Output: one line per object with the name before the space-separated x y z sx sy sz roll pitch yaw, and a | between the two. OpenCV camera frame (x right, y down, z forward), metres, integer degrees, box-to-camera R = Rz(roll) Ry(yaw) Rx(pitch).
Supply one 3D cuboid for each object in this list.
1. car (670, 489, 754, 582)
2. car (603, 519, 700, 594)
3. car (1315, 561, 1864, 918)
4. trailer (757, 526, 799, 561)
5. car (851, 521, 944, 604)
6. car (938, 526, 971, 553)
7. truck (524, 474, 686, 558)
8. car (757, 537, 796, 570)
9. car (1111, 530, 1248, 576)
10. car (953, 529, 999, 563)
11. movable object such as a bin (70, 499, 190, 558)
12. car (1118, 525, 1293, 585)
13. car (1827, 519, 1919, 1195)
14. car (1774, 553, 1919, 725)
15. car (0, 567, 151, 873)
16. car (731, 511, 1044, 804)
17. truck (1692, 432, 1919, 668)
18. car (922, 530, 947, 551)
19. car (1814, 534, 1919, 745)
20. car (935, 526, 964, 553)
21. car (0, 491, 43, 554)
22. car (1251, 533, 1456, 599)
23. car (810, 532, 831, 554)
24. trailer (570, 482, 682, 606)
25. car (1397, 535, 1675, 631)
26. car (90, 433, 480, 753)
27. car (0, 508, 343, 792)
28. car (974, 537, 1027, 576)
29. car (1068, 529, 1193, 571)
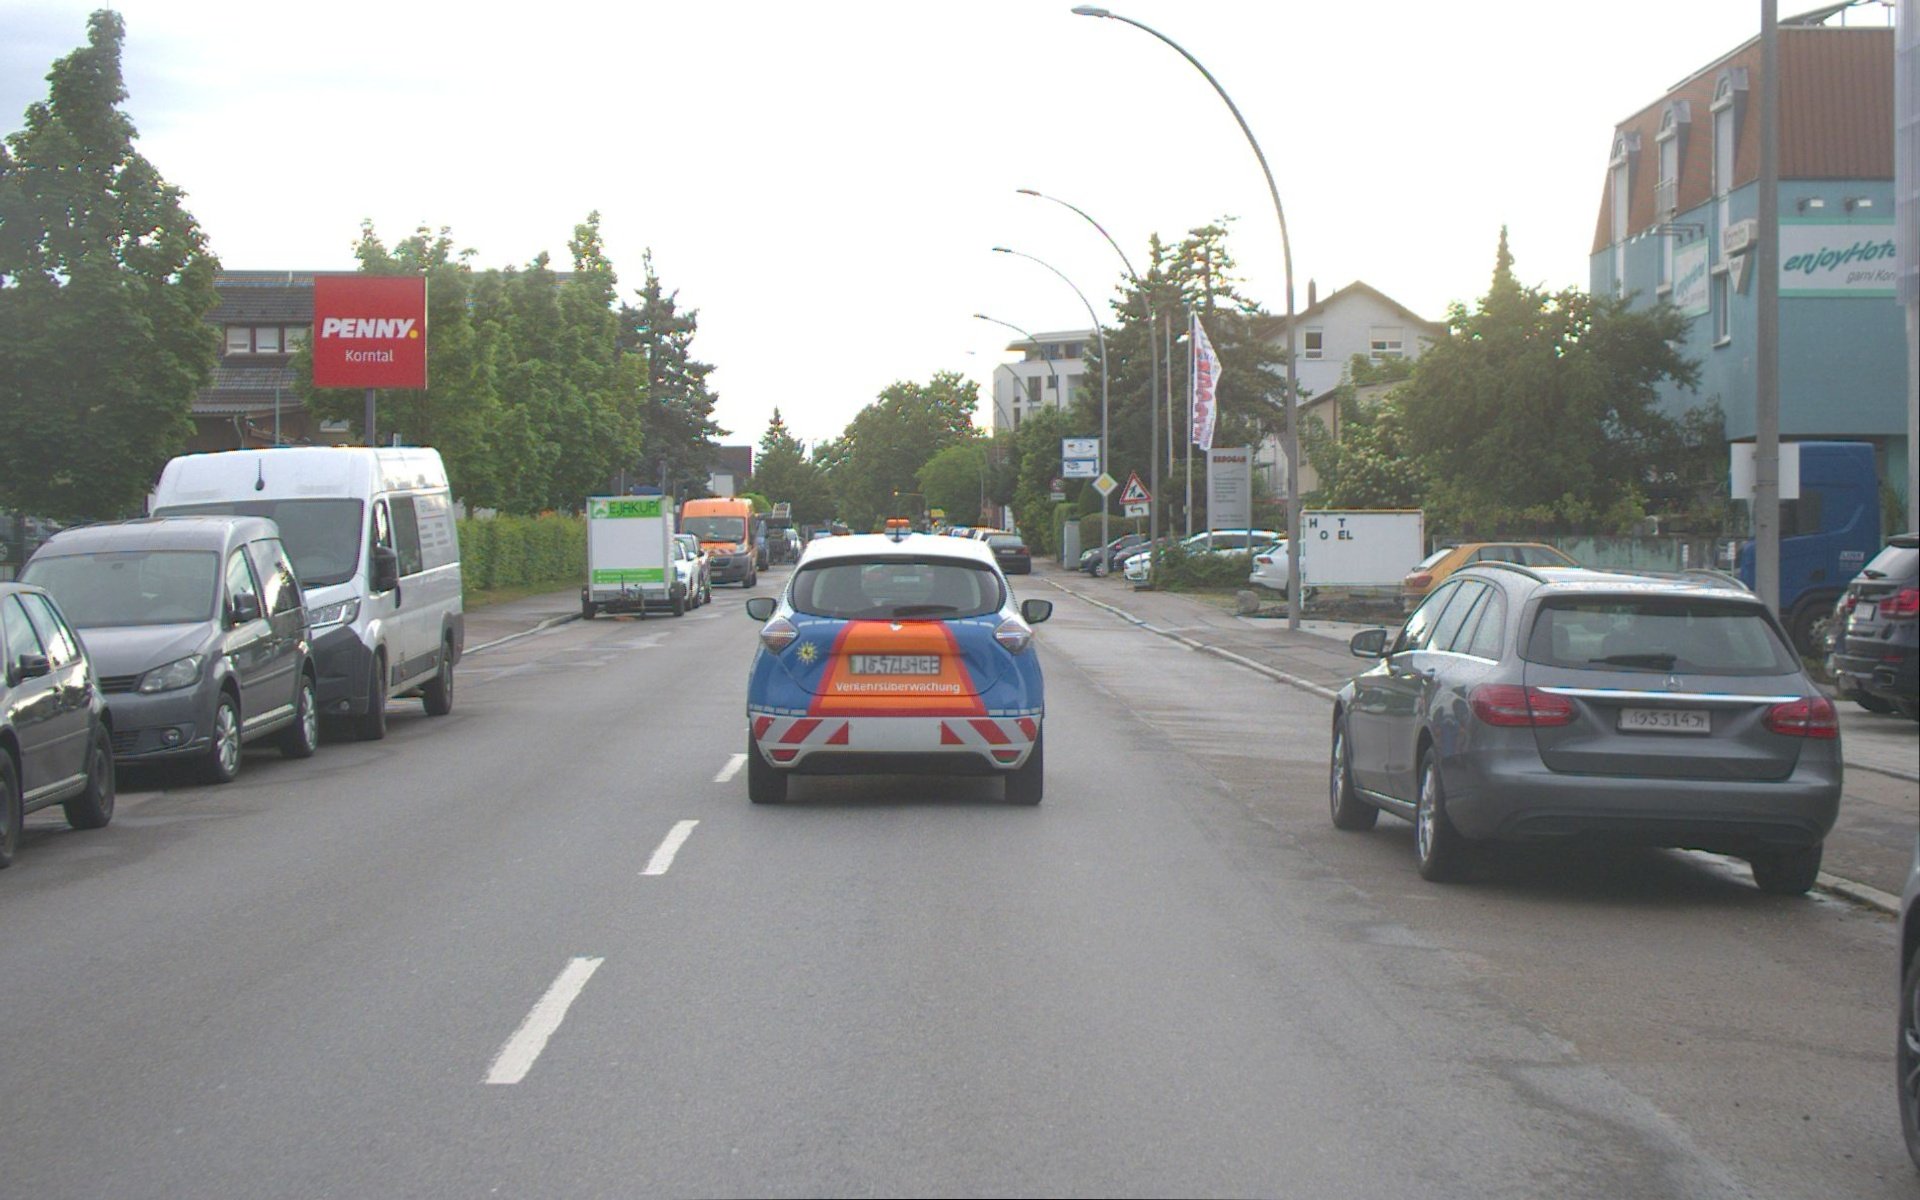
car | -6.989 -1.850 97.484 2.124 2.529 6.023 0 1 -2
car | -6.476 -0.946 72.465 1.772 1.493 4.137 0 2 -2
car | 2.901 0.565 16.834 1.738 1.461 4.546 1 1 -1
trailer | -7.765 -2.430 146.757 1.717 1.256 5.245 2 3 -3
car | -1.235 -0.734 66.615 1.650 1.516 4.001 1 1 -3
car | -0.328 -3.537 200.356 1.650 1.516 4.001 1 1 -3
truck | -13.619 -3.219 132.054 5.911 3.063 2.450 2 1 0
car | -8.235 -2.074 154.418 1.557 1.428 4.000 1 1 -1
car | 6.542 -1.417 102.851 3.987 1.262 1.951 2 1 1
car | 0.700 -2.403 151.967 1.711 1.433 4.527 1 1 -3
movable object such as a bin | -25.964 -2.235 107.641 3.421 1.753 2.000 1 1 -7
car | 6.383 -1.173 89.686 4.337 1.470 1.903 1 1 -2
car | 3.160 0.650 6.928 1.739 1.616 4.373 2 1 1
car | 9.553 0.366 30.981 3.966 1.485 1.833 1 1 1
car | -5.509 0.577 18.046 1.661 1.443 4.318 -1 1 -3
car | -0.458 0.298 20.900 1.731 1.625 3.495 0 1 -2
truck | 14.715 -0.796 57.233 4.143 3.661 2.720 4 1 -3
car | -1.927 -4.416 254.048 1.650 1.478 4.001 1 1 -3
car | 9.403 0.351 28.306 4.226 1.669 1.981 2 1 1
car | -0.707 -3.904 222.125 1.650 1.666 4.001 1 1 -3
car | -25.261 -1.988 86.280 4.053 1.546 1.886 1 1 -5
car | 9.030 -0.777 79.148 4.415 1.388 1.880 1 1 -2
car | -9.421 -3.837 232.776 1.386 1.478 3.784 0 1 -3
trailer | -6.534 -1.122 67.651 1.812 2.306 4.731 -2 1 -2
car | 8.896 -0.271 53.301 3.986 1.425 1.631 1 1 -2
car | -5.760 -0.117 30.269 2.158 2.418 6.460 -3 1 -1
car | -5.709 0.303 24.482 1.769 1.762 4.446 -3 1 0
car | 1.385 -1.529 119.802 1.589 1.336 4.093 1 1 -3
car | 5.662 -1.658 114.518 3.986 1.262 1.951 1 1 -2
